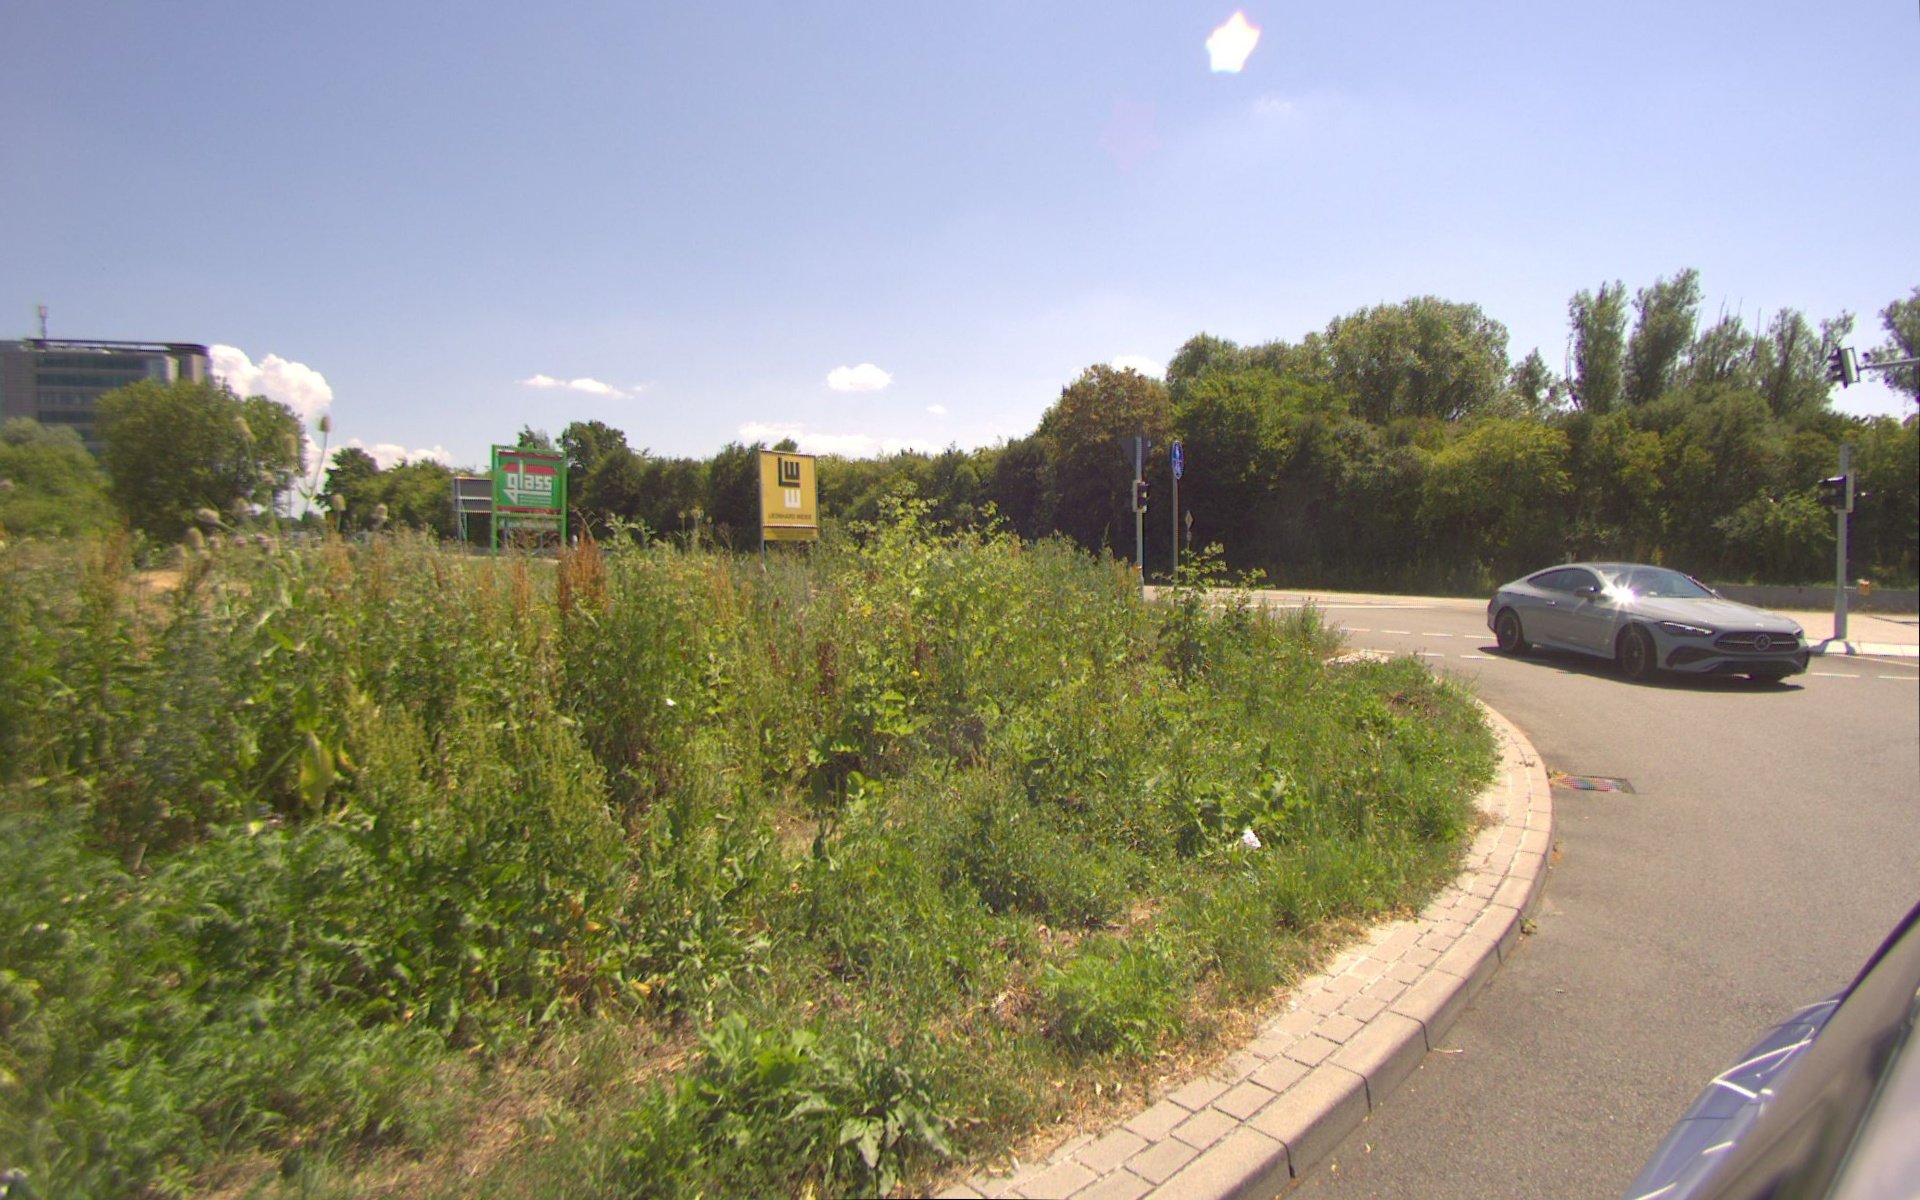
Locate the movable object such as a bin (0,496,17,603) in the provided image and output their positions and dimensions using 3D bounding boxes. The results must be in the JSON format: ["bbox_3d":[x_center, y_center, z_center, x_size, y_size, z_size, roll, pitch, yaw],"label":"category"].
[{"bbox_3d":[-40.652,-2.215,40.918,8.076,4.093,2.944,5,4,41],"label":"movable object such as a bin"}]

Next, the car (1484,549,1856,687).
[{"bbox_3d":[9.403,0.105,14.002,1.886,1.459,4.486,0,5,0],"label":"car"}]
